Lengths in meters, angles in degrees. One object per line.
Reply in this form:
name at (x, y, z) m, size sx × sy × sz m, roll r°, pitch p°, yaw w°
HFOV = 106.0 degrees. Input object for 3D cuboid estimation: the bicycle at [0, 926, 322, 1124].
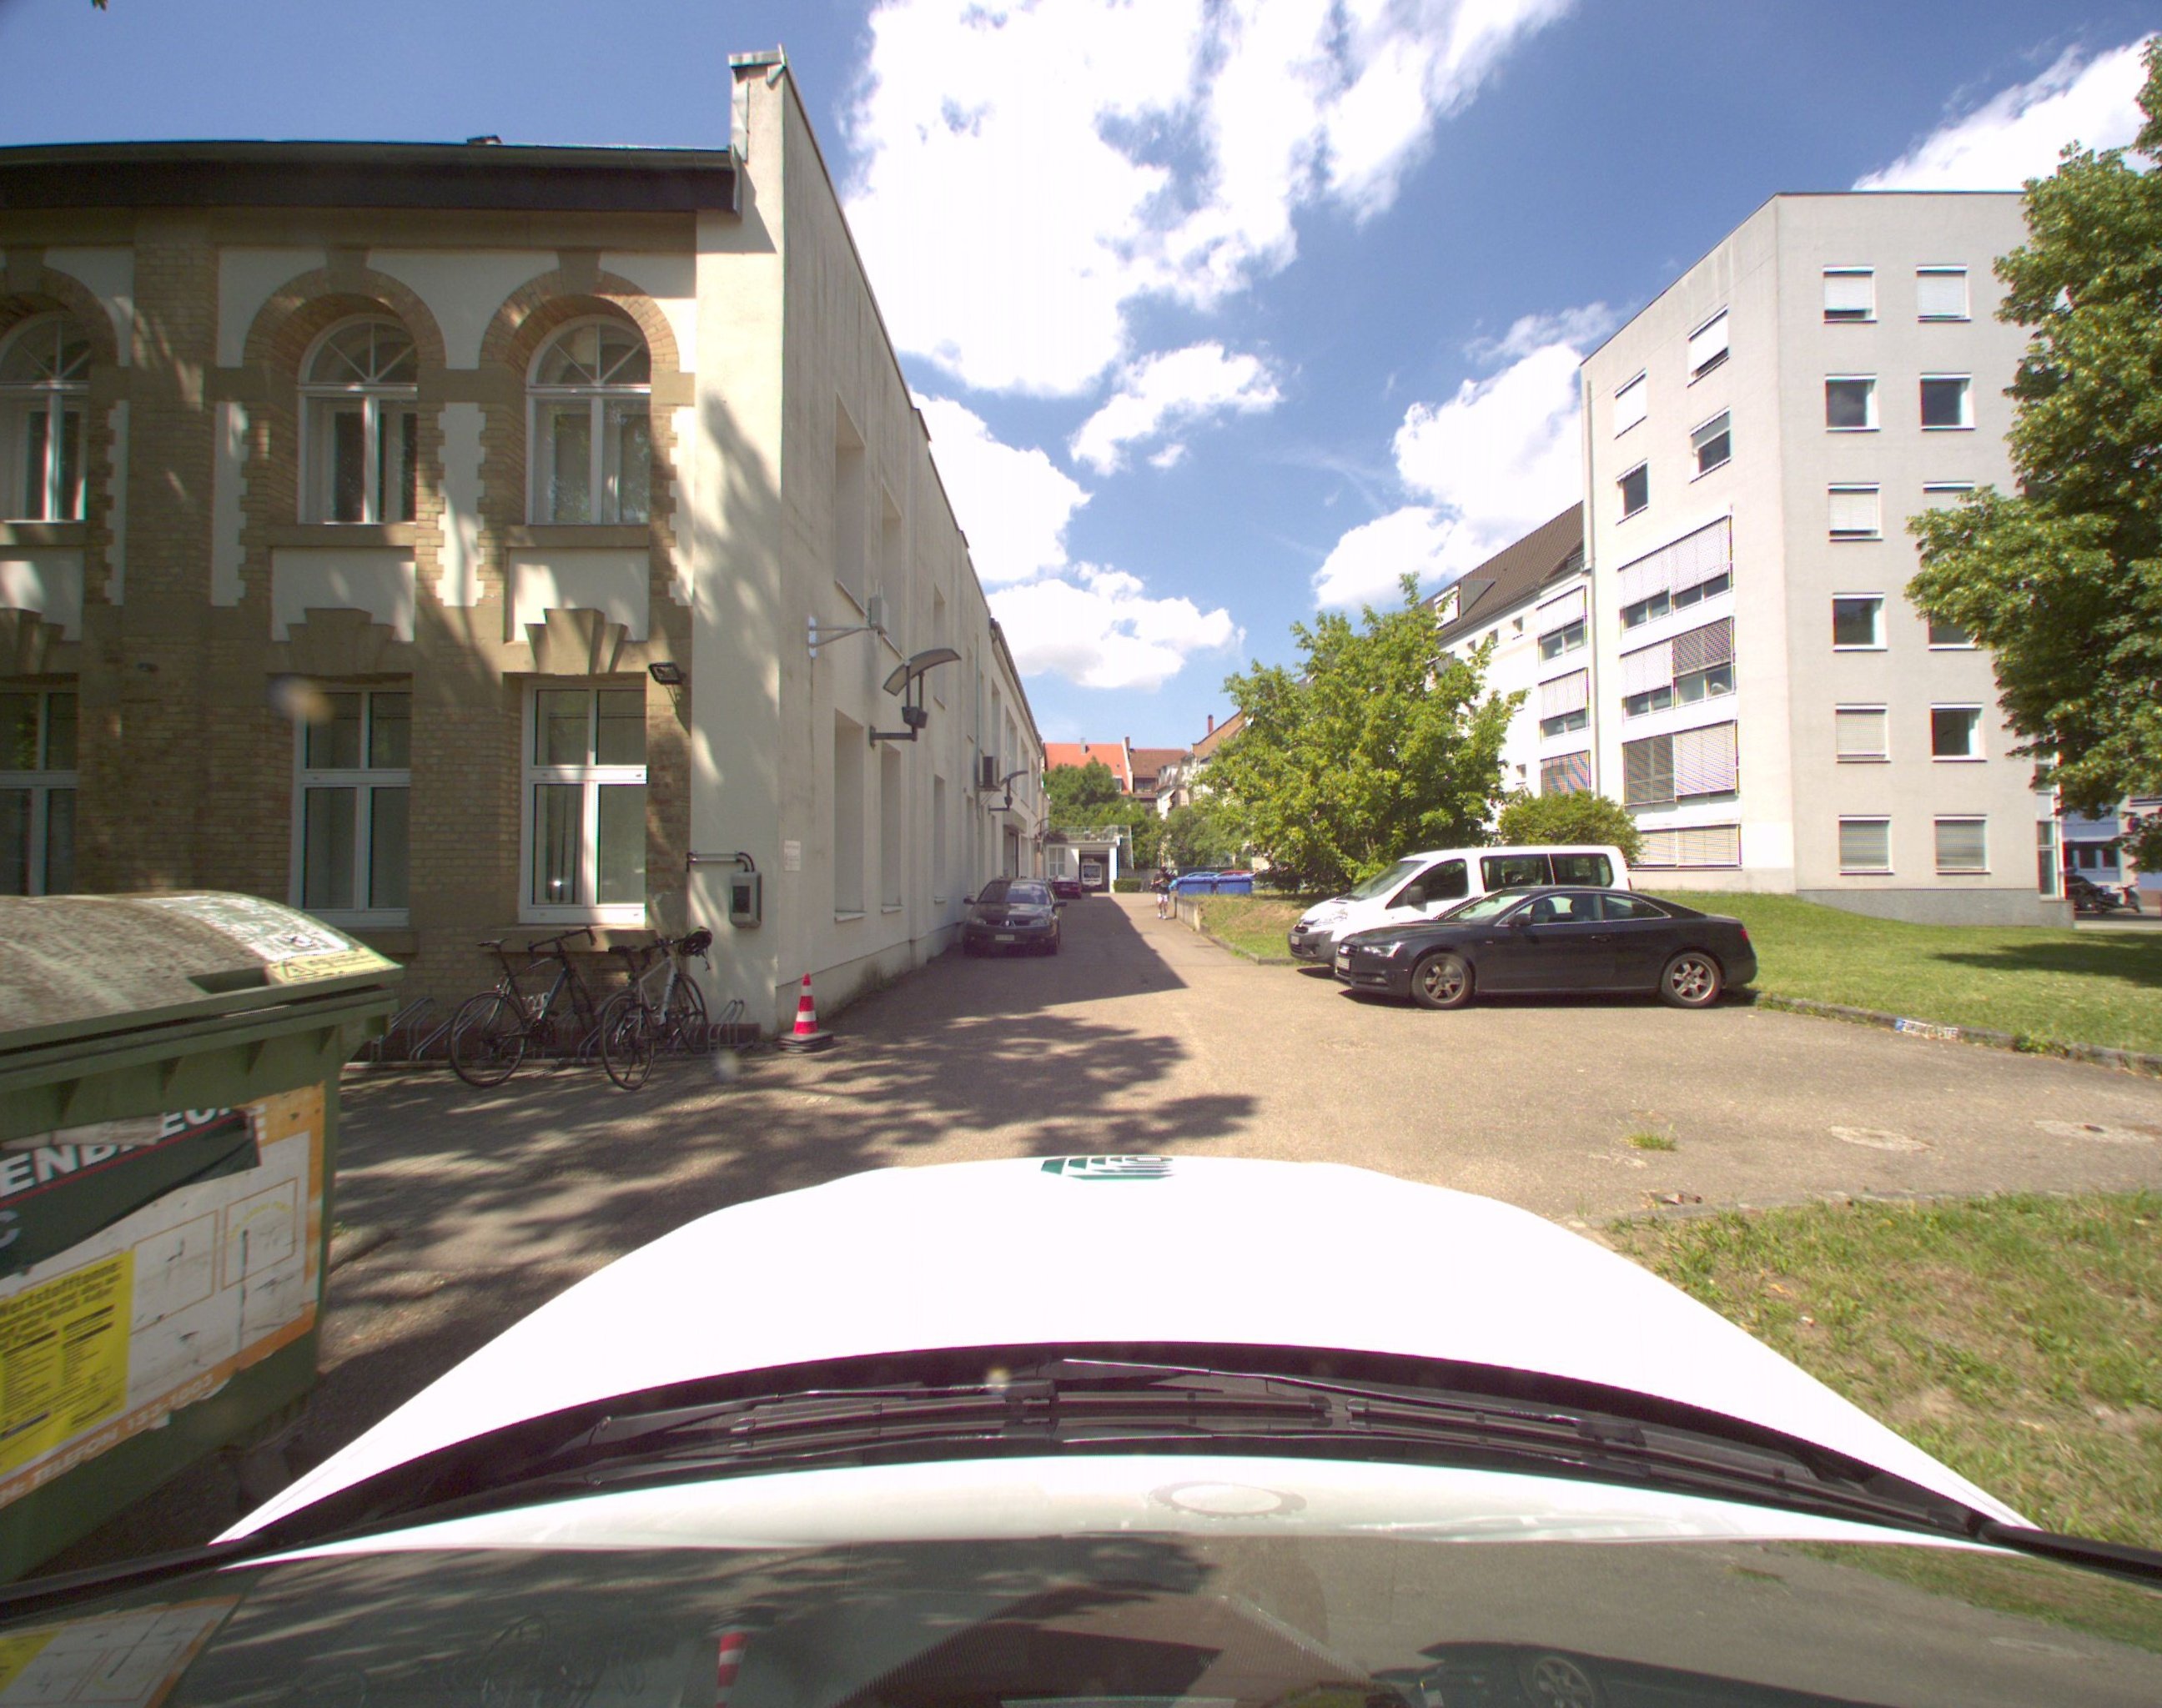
bicycle at (-7.039, 1.165, 6.054) m, size 0.603 × 1.082 × 2.261 m, roll 0°, pitch -1°, yaw 2°

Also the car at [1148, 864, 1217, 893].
car at (7.239, 1.717, 58.348) m, size 4.665 × 1.958 × 2.075 m, roll -1°, pitch -1°, yaw -2°

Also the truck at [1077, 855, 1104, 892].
truck at (0.715, 1.622, 67.335) m, size 1.785 × 2.937 × 4.644 m, roll 0°, pitch -1°, yaw -5°

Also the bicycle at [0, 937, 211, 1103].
bicycle at (-7.789, 1.219, 5.908) m, size 0.604 × 1.011 × 2.257 m, roll 0°, pitch -1°, yaw -3°

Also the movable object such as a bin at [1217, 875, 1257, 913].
movable object such as a bin at (5.688, 1.440, 29.813) m, size 1.213 × 1.327 × 1.159 m, roll -1°, pitch -1°, yaw -2°

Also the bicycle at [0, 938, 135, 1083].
bicycle at (-8.443, 1.224, 5.905) m, size 0.604 × 1.011 × 2.257 m, roll 0°, pitch -1°, yaw -3°

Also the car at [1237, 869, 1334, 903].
car at (9.356, 1.444, 37.403) m, size 3.976 × 1.478 × 1.803 m, roll -1°, pitch -1°, yaw -2°

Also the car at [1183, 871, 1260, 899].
car at (7.861, 1.736, 45.690) m, size 3.976 × 1.478 × 1.803 m, roll -1°, pitch -1°, yaw -2°

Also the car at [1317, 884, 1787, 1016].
car at (5.387, 1.071, 9.769) m, size 4.596 × 1.352 × 1.833 m, roll 0°, pitch -1°, yaw 0°

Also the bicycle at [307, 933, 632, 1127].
bicycle at (-4.273, 1.159, 5.990) m, size 0.603 × 0.958 × 2.261 m, roll 0°, pitch -1°, yaw 2°

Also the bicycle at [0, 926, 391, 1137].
bicycle at (-6.402, 1.166, 6.016) m, size 0.603 × 1.082 × 2.261 m, roll 0°, pitch -1°, yaw 2°

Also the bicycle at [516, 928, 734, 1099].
bicycle at (-3.311, 1.109, 6.121) m, size 0.609 × 0.958 × 1.730 m, roll 0°, pitch -1°, yaw 2°

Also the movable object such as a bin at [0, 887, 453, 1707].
movable object such as a bin at (-2.201, 0.823, 1.444) m, size 1.040 × 1.479 × 1.411 m, roll -1°, pitch -1°, yaw 3°

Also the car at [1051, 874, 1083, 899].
car at (-0.805, 1.905, 48.264) m, size 1.793 × 1.390 × 3.998 m, roll -1°, pitch -1°, yaw -1°

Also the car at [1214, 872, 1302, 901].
car at (8.838, 1.614, 40.910) m, size 3.976 × 1.390 × 1.803 m, roll -1°, pitch -1°, yaw -2°

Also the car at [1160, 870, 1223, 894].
car at (7.477, 1.884, 55.305) m, size 3.976 × 1.534 × 1.803 m, roll -1°, pitch -1°, yaw -2°

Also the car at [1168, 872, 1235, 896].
car at (7.722, 1.917, 52.326) m, size 3.976 × 1.390 × 1.803 m, roll -1°, pitch -1°, yaw -2°

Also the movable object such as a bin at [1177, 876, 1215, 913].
movable object such as a bin at (4.204, 1.471, 29.848) m, size 1.189 × 1.327 × 1.159 m, roll -1°, pitch -1°, yaw -2°

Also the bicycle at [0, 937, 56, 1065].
bicycle at (-9.107, 1.217, 5.890) m, size 0.604 × 1.011 × 2.257 m, roll 0°, pitch -1°, yaw -3°

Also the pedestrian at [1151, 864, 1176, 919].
pedestrian at (2.680, 1.219, 26.541) m, size 0.754 × 1.755 × 0.751 m, roll 0°, pitch -1°, yaw 1°

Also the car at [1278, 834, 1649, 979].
car at (5.628, 0.762, 12.466) m, size 4.744 × 2.014 × 1.999 m, roll 0°, pitch -2°, yaw 0°

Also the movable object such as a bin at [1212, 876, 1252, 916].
movable object such as a bin at (5.201, 1.430, 28.136) m, size 1.211 × 1.327 × 1.161 m, roll -1°, pitch -1°, yaw 2°

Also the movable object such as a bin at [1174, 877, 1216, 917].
movable object such as a bin at (3.908, 1.457, 28.105) m, size 1.333 × 1.327 × 1.161 m, roll -1°, pitch -1°, yaw 2°

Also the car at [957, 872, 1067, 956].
car at (-1.264, 1.110, 16.583) m, size 1.748 × 1.430 × 4.387 m, roll 0°, pitch -1°, yaw 1°
